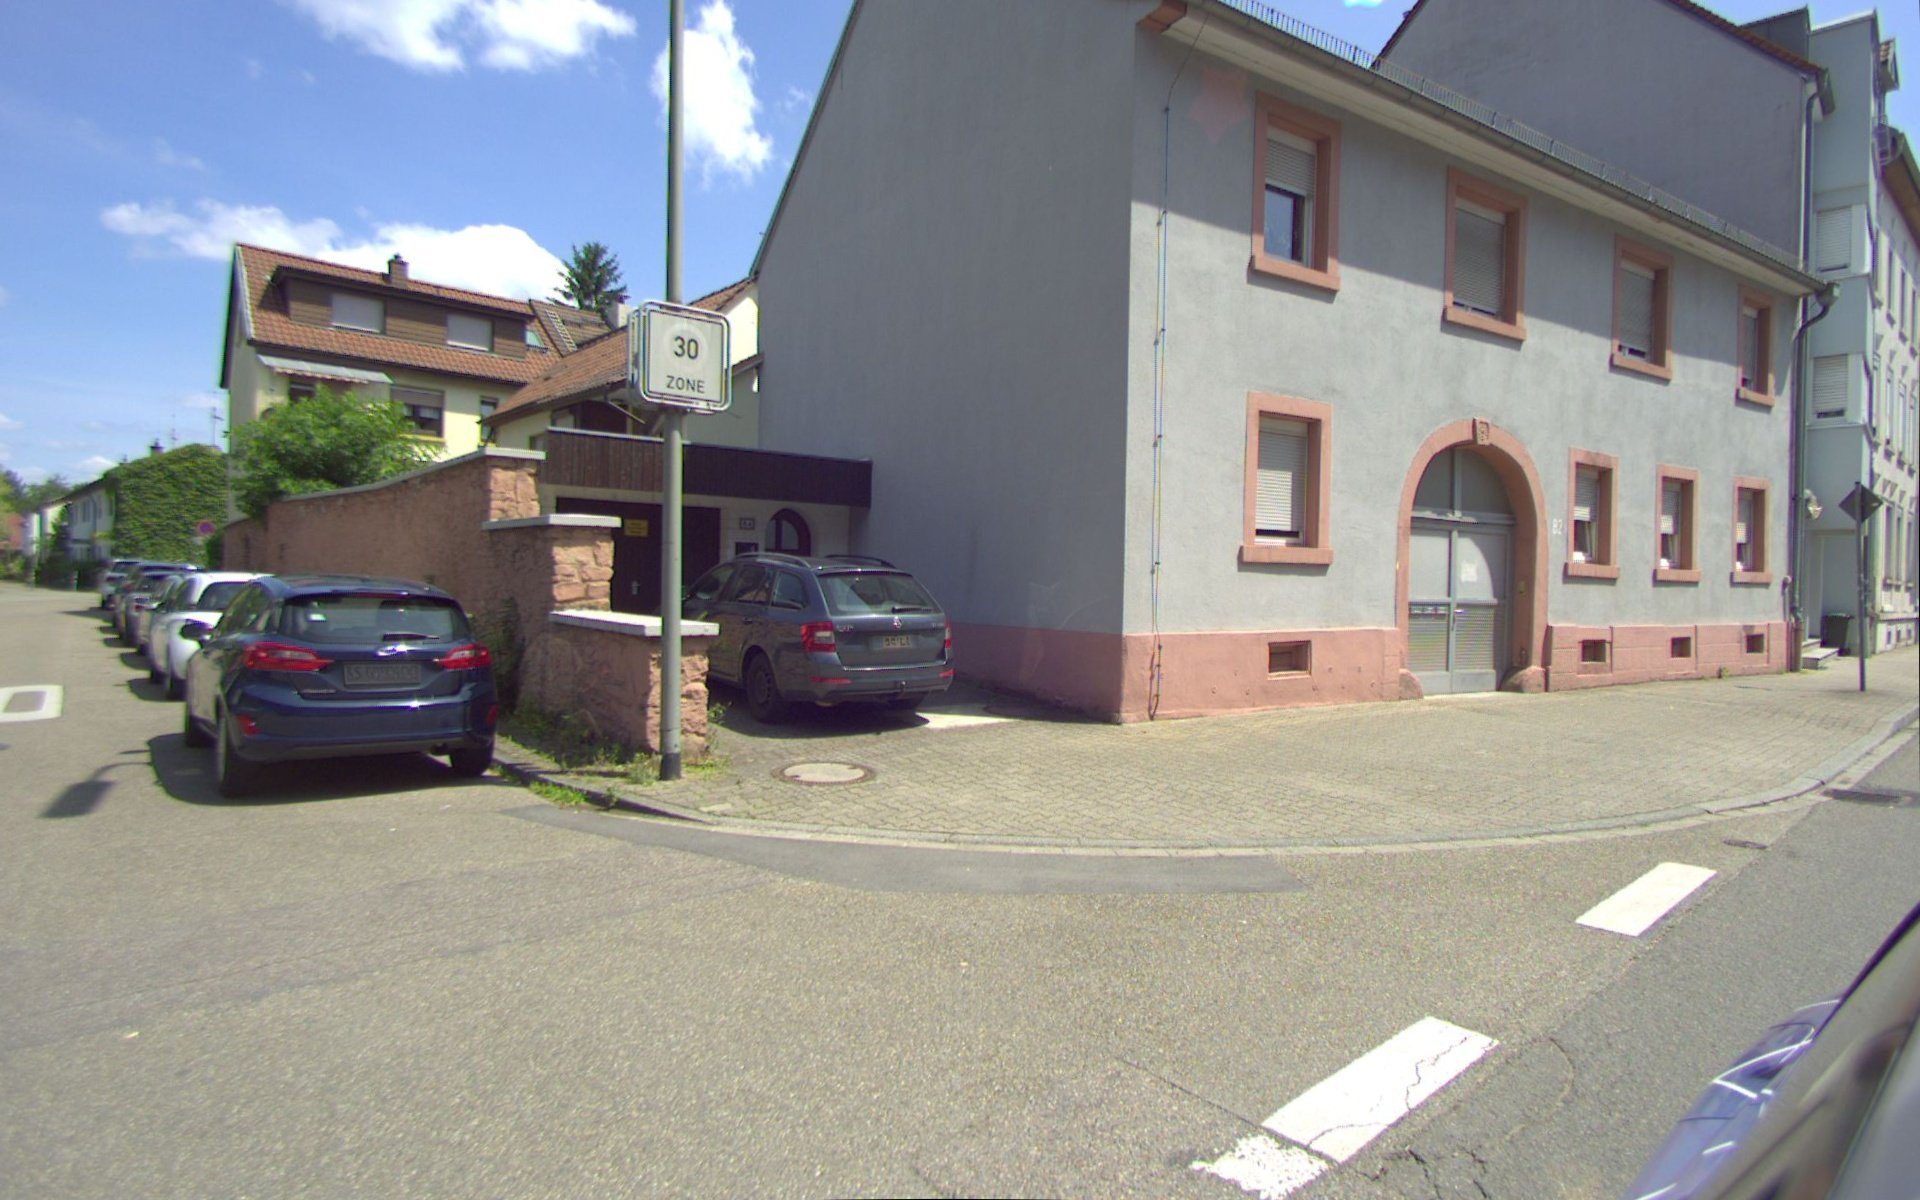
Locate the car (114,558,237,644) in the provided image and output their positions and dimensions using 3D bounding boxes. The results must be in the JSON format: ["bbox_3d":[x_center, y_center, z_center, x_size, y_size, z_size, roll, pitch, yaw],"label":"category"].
[{"bbox_3d":[-15.792,0.027,20.317,1.711,1.549,3.604,2,-1,-41],"label":"car"}]

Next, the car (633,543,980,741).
[{"bbox_3d":[-1.784,0.220,10.388,1.710,1.548,4.282,-2,4,-37],"label":"car"}]

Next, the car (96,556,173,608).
[{"bbox_3d":[-28.693,-0.642,35.143,1.965,1.682,3.995,0,2,-40],"label":"car"}]

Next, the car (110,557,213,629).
[{"bbox_3d":[-18.907,-0.161,23.910,1.711,1.549,3.604,2,-1,-41],"label":"car"}]

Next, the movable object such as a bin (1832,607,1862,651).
[{"bbox_3d":[19.557,0.632,22.322,0.472,0.946,0.480,2,2,42],"label":"movable object such as a bin"}]

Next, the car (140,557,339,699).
[{"bbox_3d":[-9.328,0.317,12.993,1.711,1.549,3.604,2,-1,-41],"label":"car"}]

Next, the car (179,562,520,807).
[{"bbox_3d":[-4.962,0.501,8.003,1.711,1.467,3.604,1,0,-41],"label":"car"}]

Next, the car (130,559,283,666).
[{"bbox_3d":[-12.409,0.196,16.592,1.711,1.549,3.604,2,-1,-41],"label":"car"}]
